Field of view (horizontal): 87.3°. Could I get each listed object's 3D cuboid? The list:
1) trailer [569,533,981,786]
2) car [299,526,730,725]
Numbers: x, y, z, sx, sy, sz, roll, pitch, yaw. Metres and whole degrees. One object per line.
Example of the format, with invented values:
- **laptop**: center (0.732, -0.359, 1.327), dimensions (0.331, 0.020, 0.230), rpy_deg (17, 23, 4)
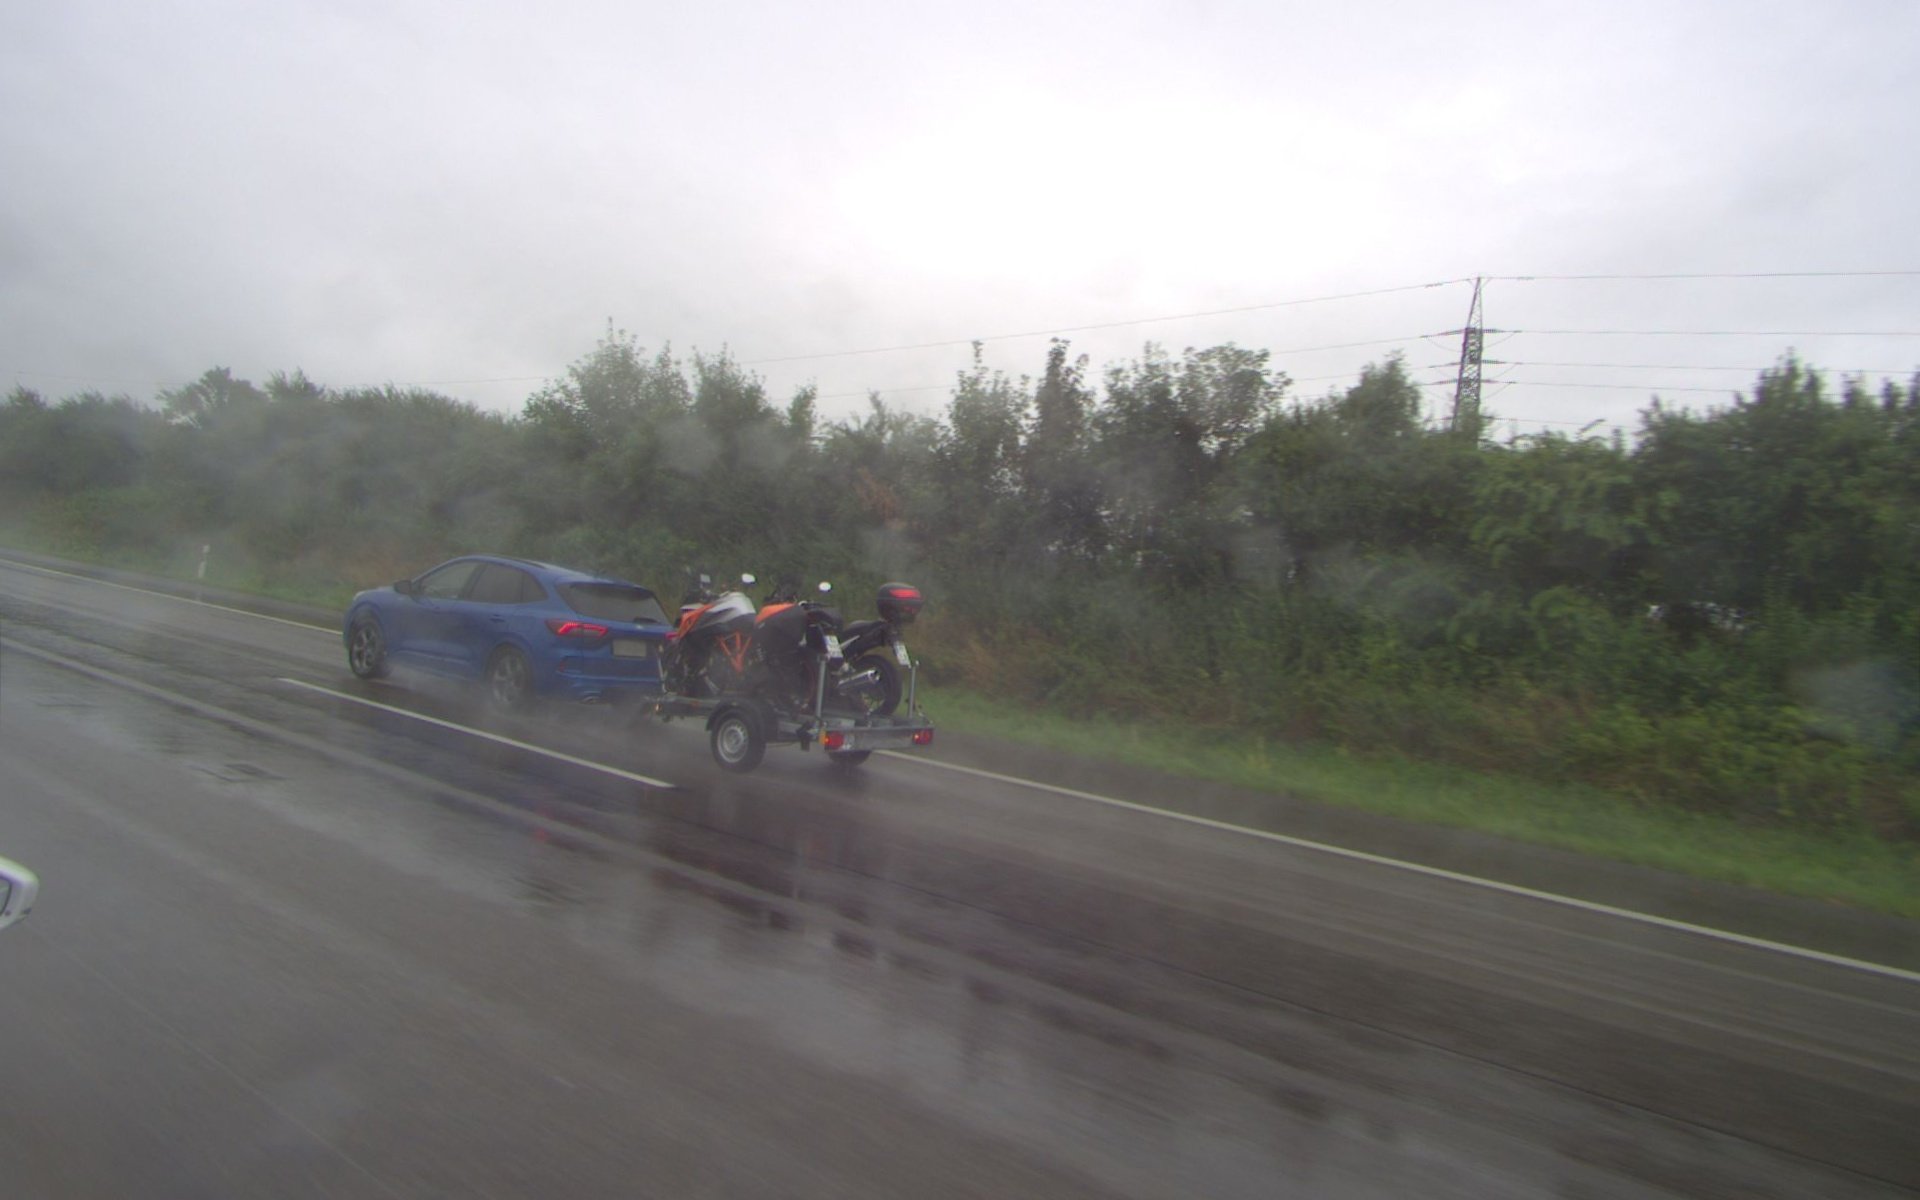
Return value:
- **trailer**: center (-1.730, 0.496, 9.465), dimensions (3.136, 1.806, 1.982), rpy_deg (6, -2, 31)
- **car**: center (-5.239, 0.238, 11.625), dimensions (4.910, 1.638, 1.997), rpy_deg (6, -2, 32)
